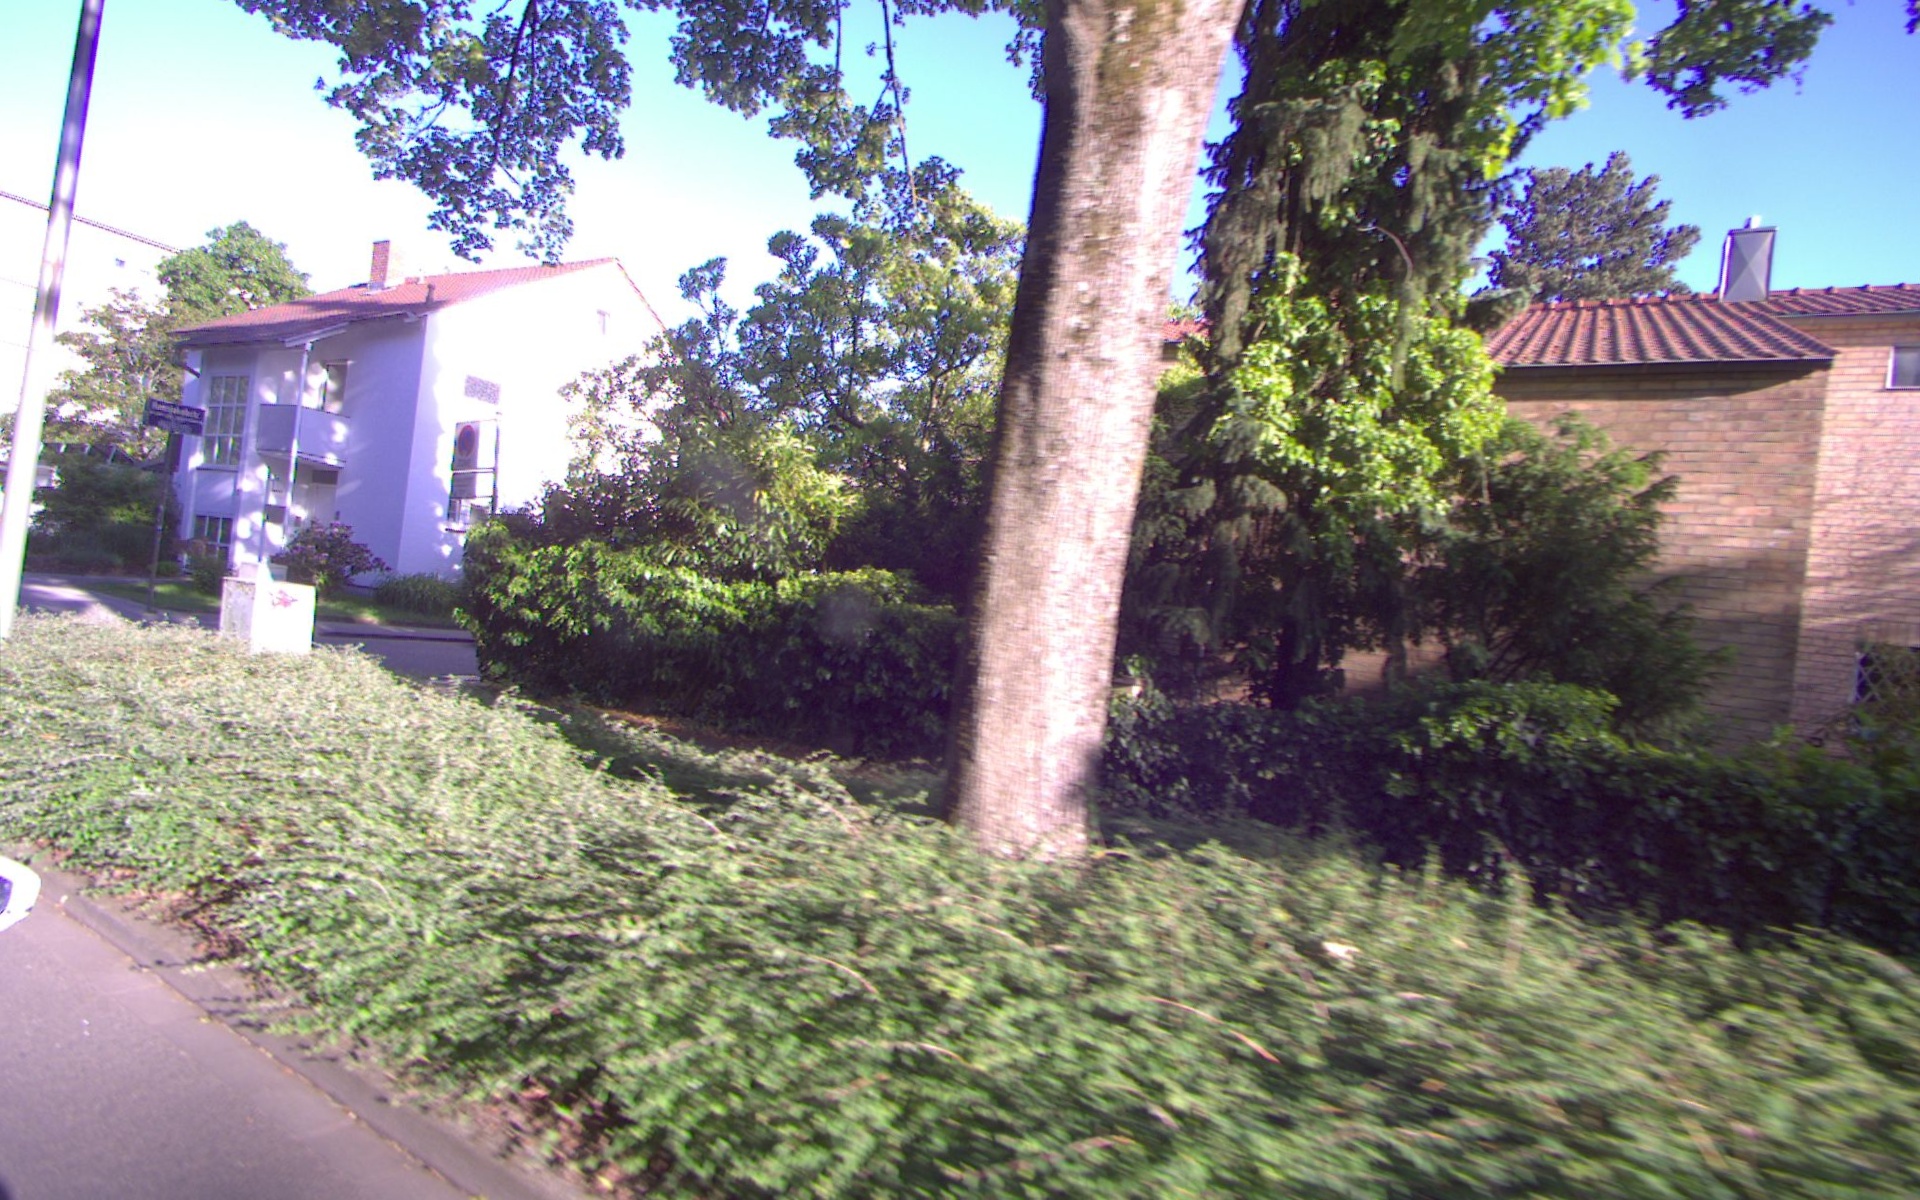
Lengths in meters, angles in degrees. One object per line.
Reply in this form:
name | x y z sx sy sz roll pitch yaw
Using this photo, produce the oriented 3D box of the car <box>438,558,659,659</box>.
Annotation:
car | -7.928 0.240 19.732 1.661 1.519 3.742 7 -2 26
